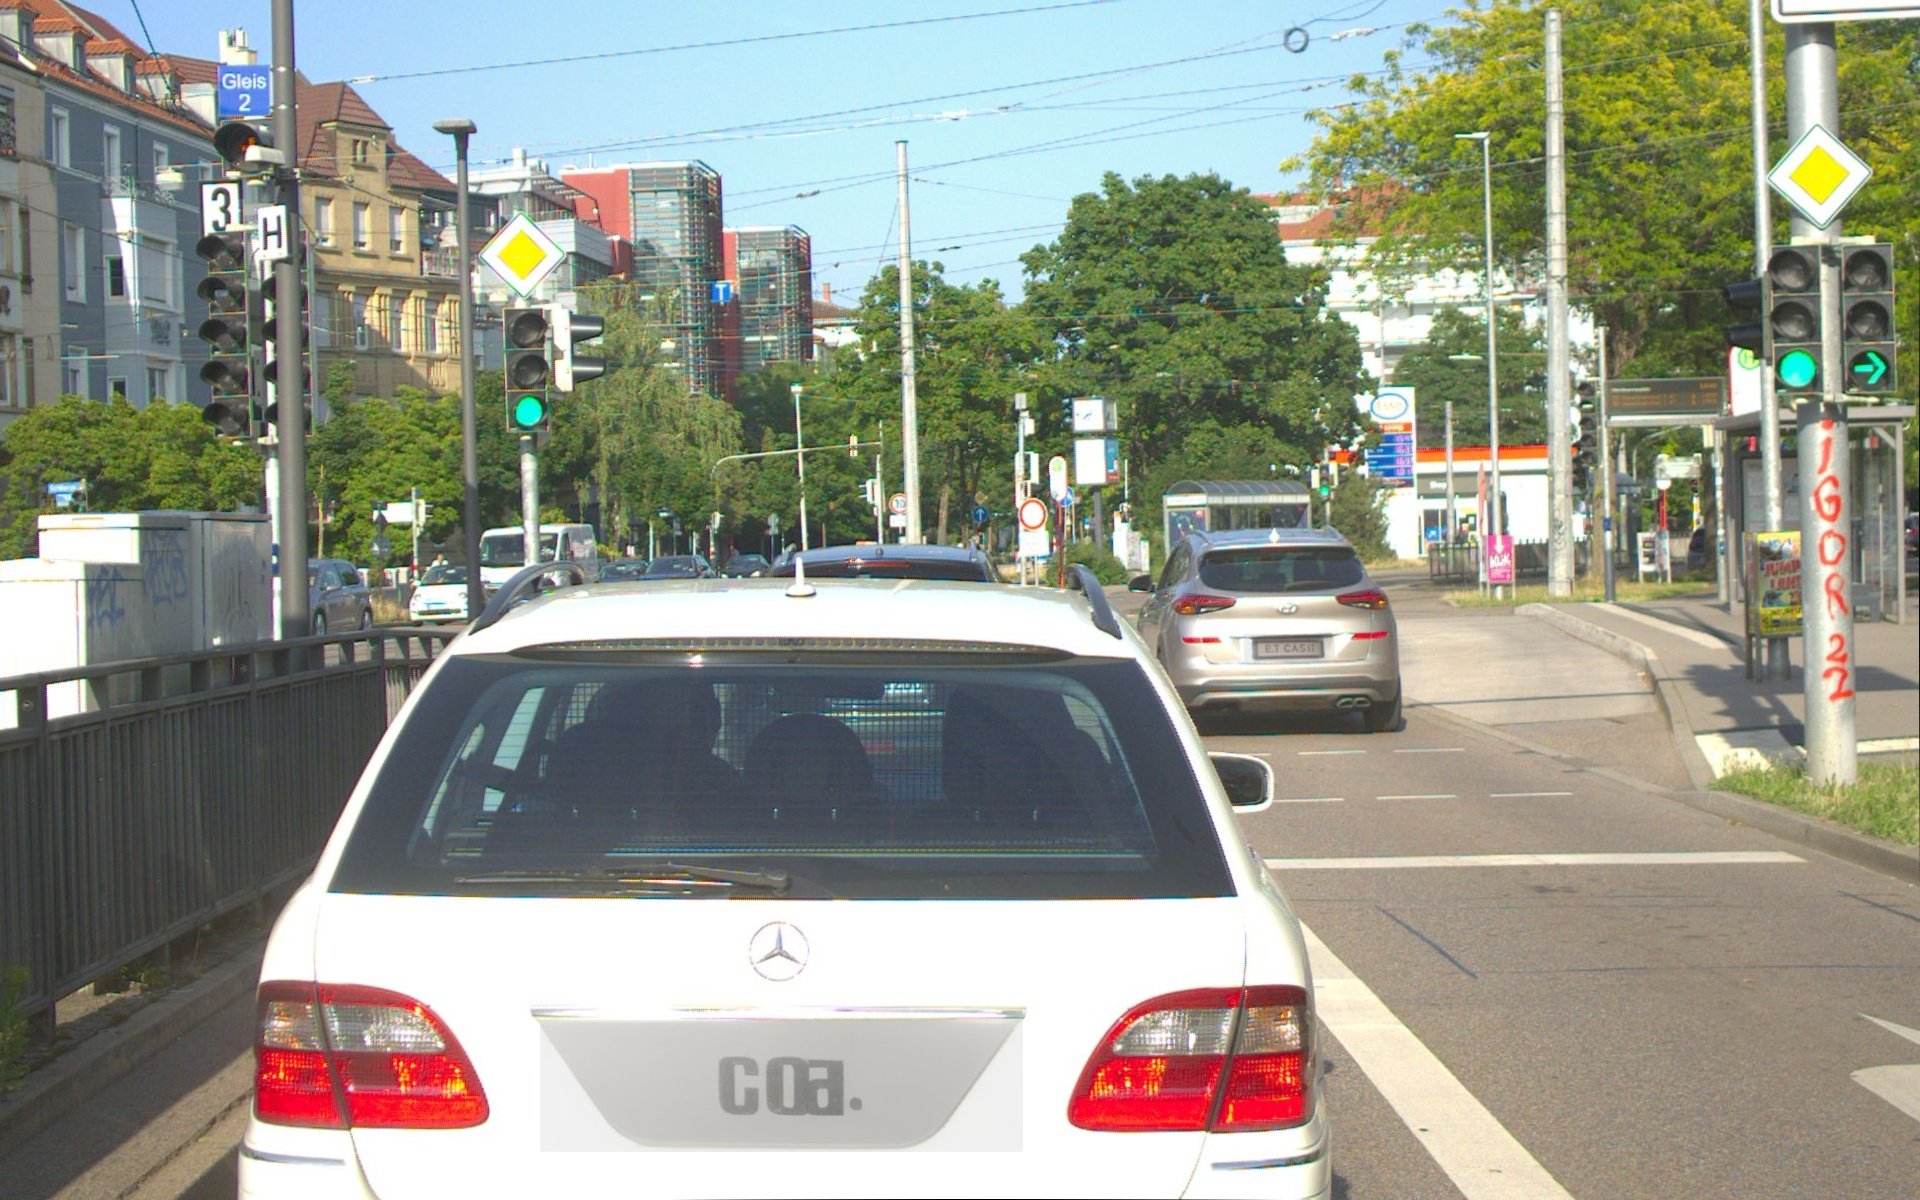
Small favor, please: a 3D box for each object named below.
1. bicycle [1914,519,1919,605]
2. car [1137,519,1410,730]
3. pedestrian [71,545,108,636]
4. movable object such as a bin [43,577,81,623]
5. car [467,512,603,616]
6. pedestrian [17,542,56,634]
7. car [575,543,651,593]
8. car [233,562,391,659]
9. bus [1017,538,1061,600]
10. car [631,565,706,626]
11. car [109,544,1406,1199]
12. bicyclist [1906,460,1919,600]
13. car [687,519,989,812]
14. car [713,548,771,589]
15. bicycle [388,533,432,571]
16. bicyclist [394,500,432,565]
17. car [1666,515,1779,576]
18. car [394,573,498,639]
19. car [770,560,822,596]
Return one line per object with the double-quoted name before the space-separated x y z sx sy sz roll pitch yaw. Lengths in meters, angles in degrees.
"bicycle" 12.377 -0.489 42.623 0.640 1.084 1.733 -4 1 3
"car" 2.478 0.157 27.986 1.835 1.595 3.815 0 1 -1
"pedestrian" -18.225 -0.203 71.978 0.584 1.874 0.627 -2 1 -3
"movable object such as a bin" -18.897 0.007 72.380 0.583 0.943 0.663 -2 1 3
"car" -9.618 -0.856 78.133 2.177 2.231 5.253 -2 1 2
"pedestrian" -19.225 -0.255 71.573 0.584 1.874 0.627 -2 1 -2
"car" -10.459 -0.984 103.828 1.767 1.428 4.000 -2 1 2
"car" -11.566 0.166 61.614 1.677 1.520 4.124 -1 2 5
"bus" 3.344 -1.298 145.720 1.798 2.546 4.000 1 0 1
"car" -8.275 -0.148 97.870 1.767 1.489 4.745 -2 2 -1
"car" -0.307 0.640 6.781 1.835 1.496 3.815 0 1 -1
"bicyclist" 12.237 -0.889 42.458 0.720 1.740 1.140 -5 1 3
"car" -0.687 0.329 20.611 1.641 1.595 3.815 0 1 -1
"car" -8.241 -1.189 130.312 1.689 1.436 4.000 -2 1 3
"bicycle" -14.261 -1.247 89.149 0.769 0.962 2.034 -2 1 1
"bicyclist" -14.254 -1.753 89.577 0.760 1.662 1.167 -2 1 1
"car" 20.853 -1.505 93.943 1.856 1.510 3.994 -3 1 30
"car" -12.377 0.118 83.029 1.794 1.452 4.000 -2 1 1
"car" -6.788 -0.905 142.462 1.689 1.415 4.000 -2 0 3
